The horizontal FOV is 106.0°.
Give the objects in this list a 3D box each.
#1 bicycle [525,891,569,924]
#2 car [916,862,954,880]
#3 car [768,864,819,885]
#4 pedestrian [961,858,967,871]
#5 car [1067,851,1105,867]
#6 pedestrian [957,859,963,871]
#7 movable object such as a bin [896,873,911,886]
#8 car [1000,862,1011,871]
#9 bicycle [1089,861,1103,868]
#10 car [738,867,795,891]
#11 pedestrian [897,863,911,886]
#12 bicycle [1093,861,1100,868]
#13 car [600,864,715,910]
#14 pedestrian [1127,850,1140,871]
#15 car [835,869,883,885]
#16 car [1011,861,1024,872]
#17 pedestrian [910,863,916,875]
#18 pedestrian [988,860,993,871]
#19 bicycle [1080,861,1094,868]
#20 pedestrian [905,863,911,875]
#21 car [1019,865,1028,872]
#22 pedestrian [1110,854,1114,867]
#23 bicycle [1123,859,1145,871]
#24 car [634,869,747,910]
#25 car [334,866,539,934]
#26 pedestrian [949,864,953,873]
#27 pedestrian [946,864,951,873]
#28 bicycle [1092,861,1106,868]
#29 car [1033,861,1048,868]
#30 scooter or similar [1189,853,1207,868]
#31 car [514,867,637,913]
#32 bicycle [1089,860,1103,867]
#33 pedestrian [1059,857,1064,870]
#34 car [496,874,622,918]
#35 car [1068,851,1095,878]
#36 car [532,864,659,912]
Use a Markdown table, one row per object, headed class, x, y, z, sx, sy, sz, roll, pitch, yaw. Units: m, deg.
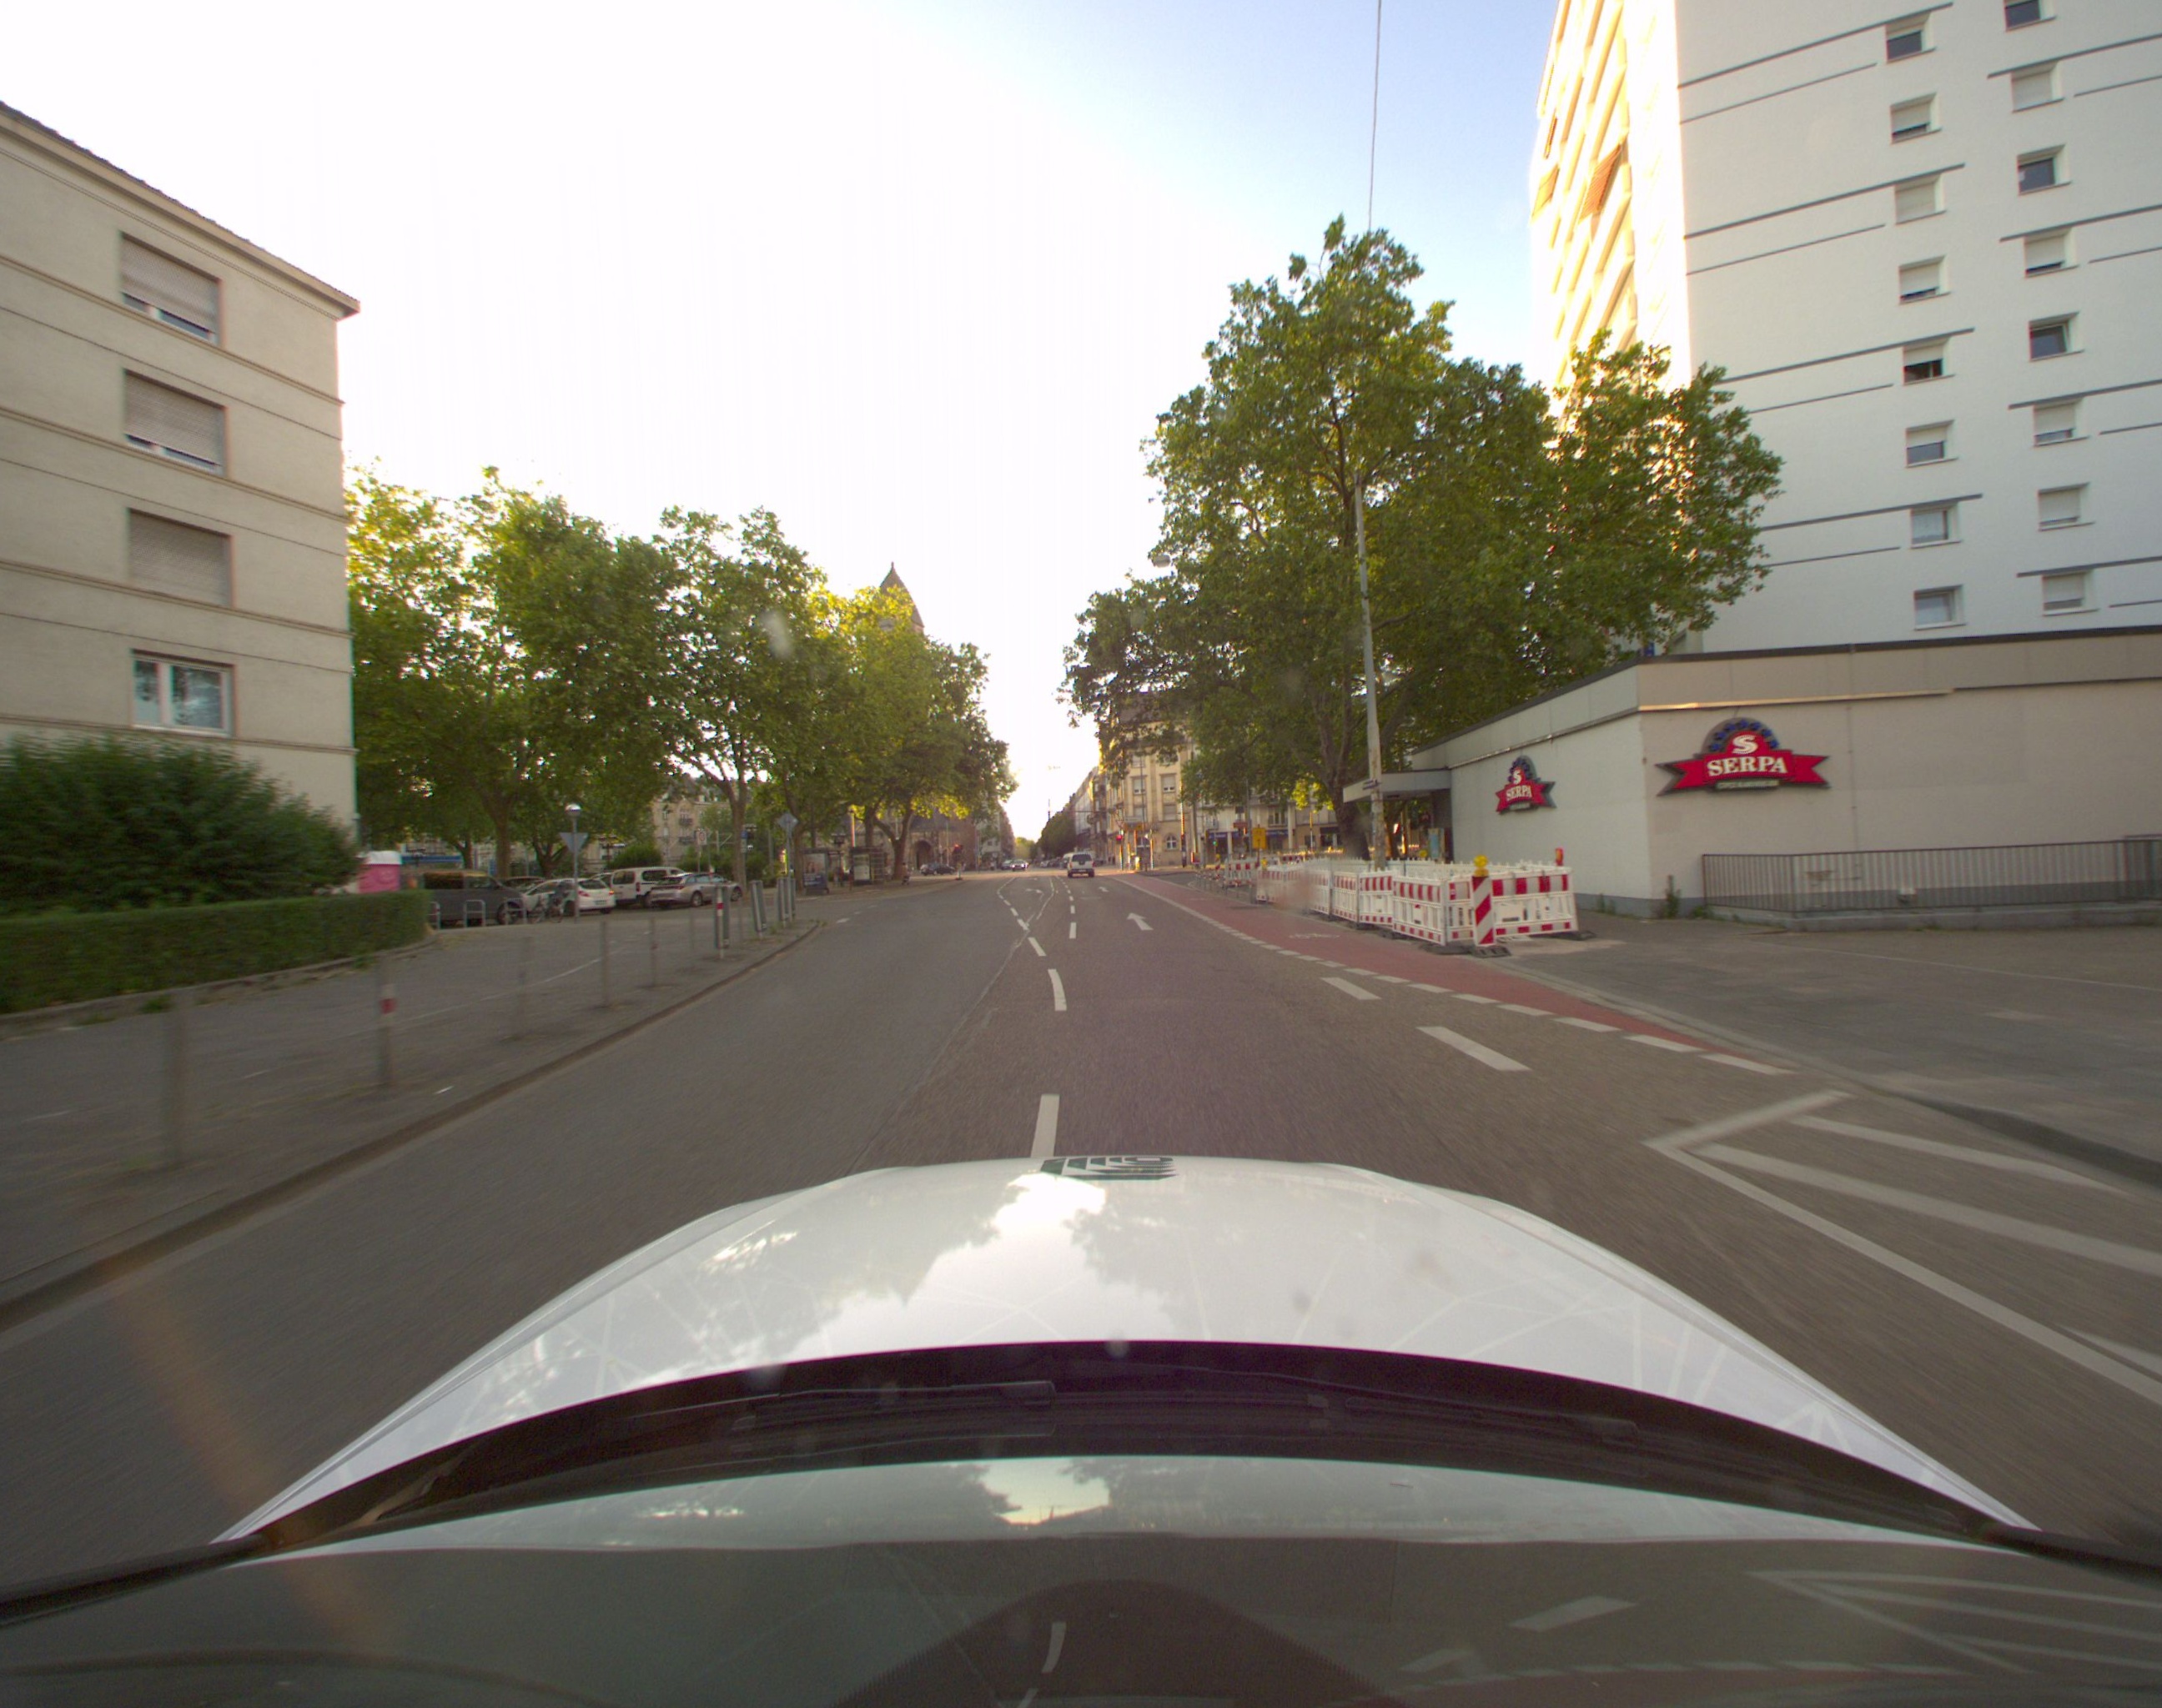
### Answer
| class | x | y | z | sx | sy | sz | roll | pitch | yaw |
| --- | --- | --- | --- | --- | --- | --- | --- | --- | --- |
| bicycle | -17.593 | 1.758 | 26.820 | 1.801 | 1.042 | 0.483 | -2 | 0 | 32 |
| car | -17.165 | 1.973 | 95.734 | 2.059 | 1.841 | 4.658 | -2 | 0 | 24 |
| car | -28.186 | 1.976 | 80.025 | 2.060 | 1.841 | 4.656 | -2 | 0 | 22 |
| pedestrian | -17.961 | 1.628 | 125.150 | 0.648 | 1.886 | 0.589 | -2 | -1 | 30 |
| car | 0.726 | 0.745 | 122.485 | 5.856 | 2.288 | 2.047 | -2 | 0 | -43 |
| pedestrian | -18.615 | 1.664 | 125.397 | 0.587 | 1.886 | 0.557 | -2 | -1 | 29 |
| movable object such as a bin | -12.978 | 1.855 | 59.627 | 0.733 | 0.890 | 0.986 | -2 | 0 | 12 |
| car | -14.478 | 2.381 | 156.469 | 1.992 | 1.651 | 3.811 | -1 | -1 | -8 |
| bicycle | 2.151 | 1.475 | 116.248 | 1.909 | 0.968 | 0.545 | -2 | 0 | -2 |
| car | -28.026 | 2.189 | 72.678 | 2.060 | 1.841 | 4.656 | -2 | 0 | 22 |
| pedestrian | -13.179 | 1.503 | 60.548 | 0.733 | 1.629 | 0.688 | -2 | 0 | 12 |
| bicycle | 2.315 | 1.493 | 118.395 | 0.540 | 0.968 | 1.928 | -2 | 0 | 14 |
| car | -19.342 | 1.454 | 37.446 | 1.804 | 1.800 | 4.654 | -2 | 0 | 19 |
| pedestrian | 4.492 | 0.534 | 69.634 | 0.796 | 1.768 | 0.717 | -2 | 0 | -17 |
| car | -24.642 | 2.556 | 90.514 | 4.606 | 1.530 | 2.003 | -2 | 0 | 5 |
| car | -9.919 | 1.916 | 126.909 | 1.780 | 1.651 | 3.811 | -1 | -1 | -8 |
| pedestrian | -22.928 | 2.081 | 111.220 | 0.553 | 1.584 | 0.549 | -2 | 0 | 7 |
| pedestrian | -15.422 | 1.921 | 139.041 | 0.588 | 1.886 | 0.557 | -2 | -1 | 26 |
| bicycle | 0.870 | 1.498 | 116.660 | 1.914 | 0.968 | 0.544 | -2 | 0 | -9 |
| pedestrian | -23.659 | 2.090 | 111.241 | 0.553 | 1.584 | 0.549 | -2 | 0 | 7 |
| car | -13.593 | 3.378 | 192.496 | 1.992 | 1.506 | 3.811 | -1 | -1 | -8 |
| pedestrian | 4.311 | 0.911 | 113.050 | 0.591 | 1.886 | 0.648 | -2 | 0 | 2 |
| bicycle | 4.493 | 0.954 | 69.131 | 1.690 | 0.968 | 0.544 | -2 | 0 | -7 |
| car | -16.877 | 1.494 | 35.489 | 1.806 | 1.481 | 4.649 | -2 | 0 | 14 |
| car | -20.802 | 1.421 | 26.583 | 1.977 | 1.973 | 4.871 | -2 | -1 | 20 |
| pedestrian | -20.308 | 2.262 | 127.209 | 0.500 | 1.280 | 0.488 | -2 | -1 | -24 |
| pedestrian | -20.673 | 2.288 | 127.480 | 0.568 | 1.320 | 0.488 | -2 | 0 | 12 |
| bicycle | 2.624 | 1.478 | 117.038 | 1.901 | 0.968 | 0.548 | -2 | 0 | 14 |
| car | -11.444 | 3.085 | 229.591 | 3.982 | 1.816 | 1.996 | -2 | 0 | -6 |
| scooter or similar | 9.878 | 0.571 | 68.785 | 0.548 | 1.250 | 1.374 | -2 | -1 | -40 |
| car | -23.893 | 1.653 | 38.722 | 2.061 | 1.841 | 4.654 | -2 | 0 | 19 |
| bicycle | 2.119 | 1.358 | 115.969 | 1.909 | 0.968 | 0.545 | -2 | 0 | -2 |
| pedestrian | -3.021 | 1.453 | 126.391 | 0.591 | 1.886 | 0.648 | -2 | 0 | 2 |
| car | -20.361 | 1.615 | 31.807 | 3.956 | 1.519 | 2.009 | -2 | 0 | 17 |
| car | 0.013 | 0.768 | 59.952 | 1.861 | 1.815 | 3.998 | -3 | 0 | -1 |
| car | -22.047 | 1.502 | 37.200 | 2.061 | 1.841 | 4.654 | -2 | 0 | 19 |
